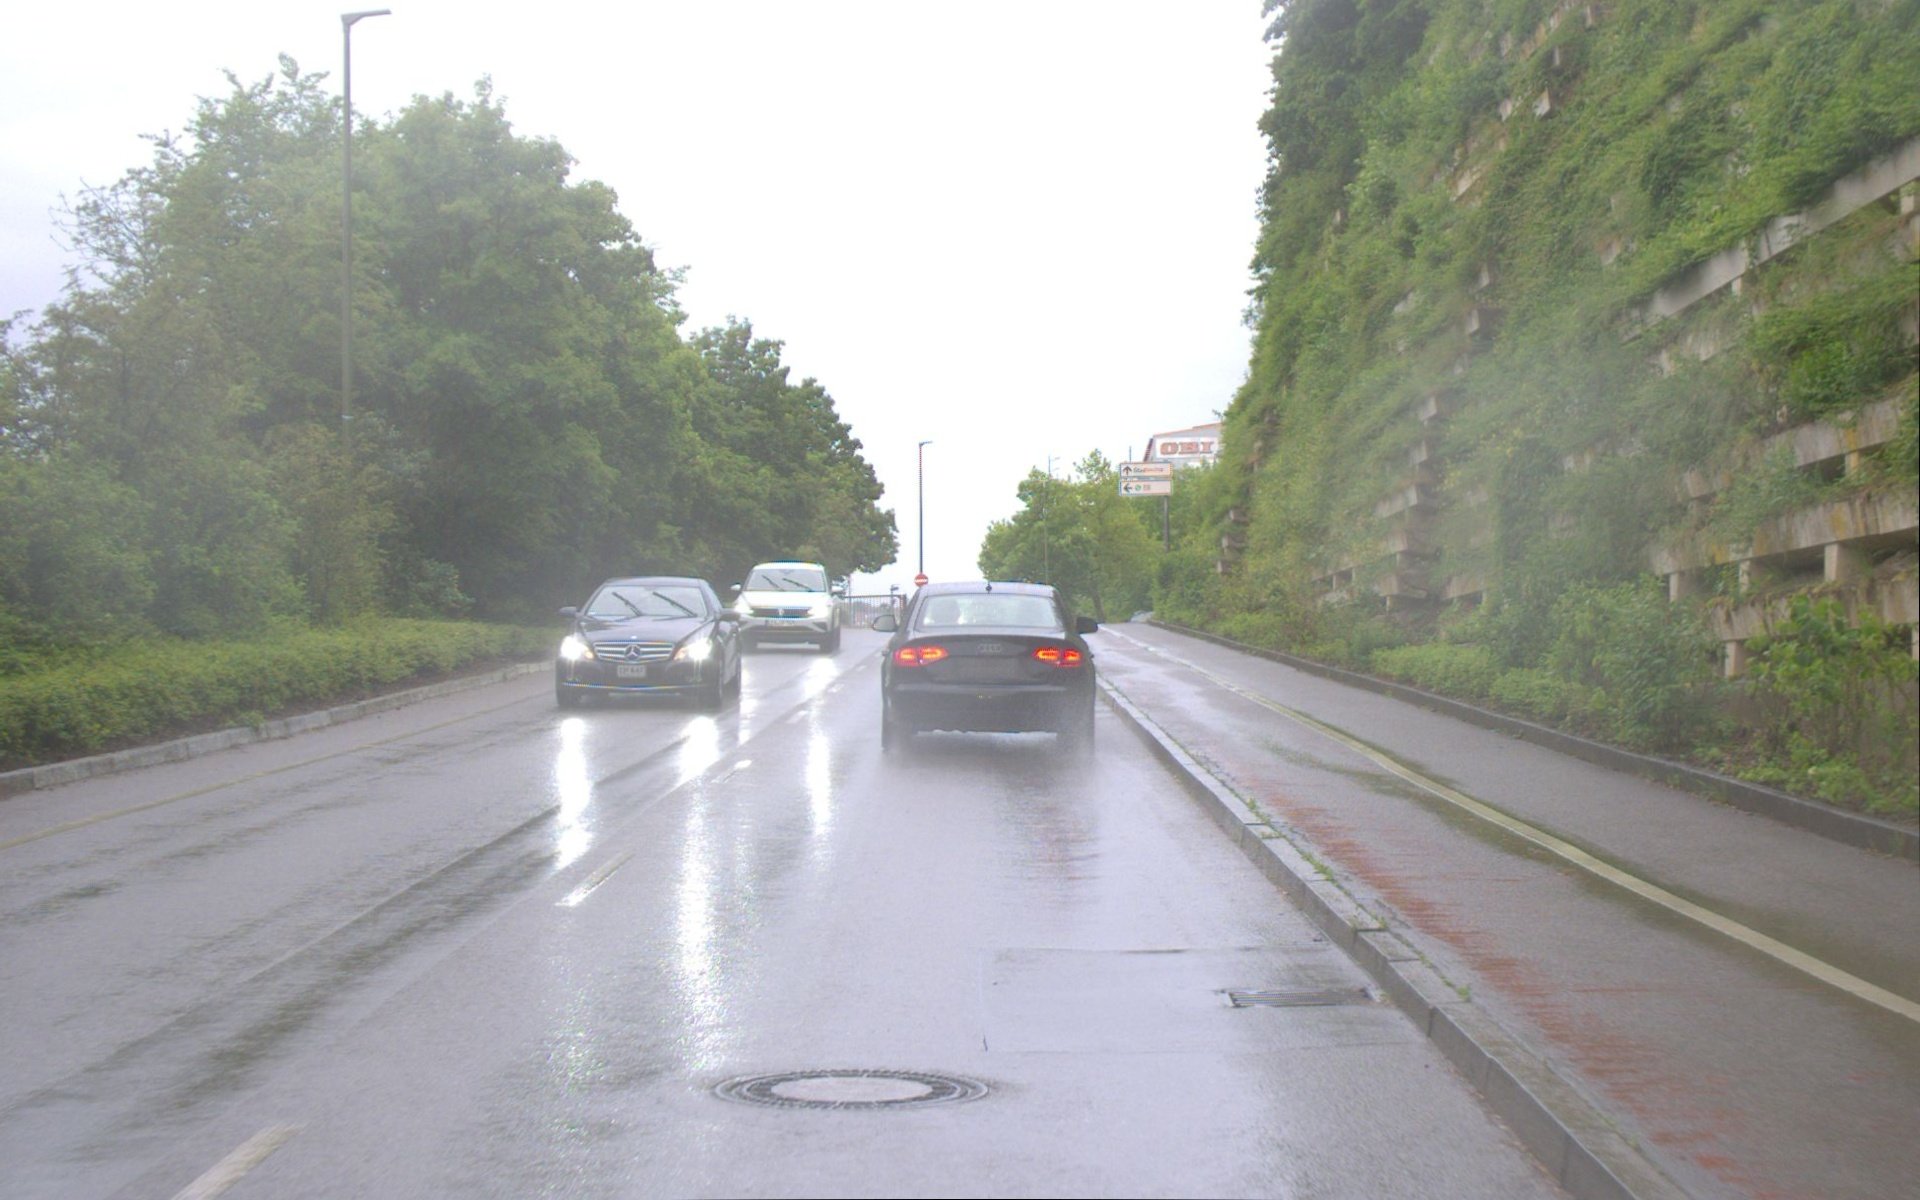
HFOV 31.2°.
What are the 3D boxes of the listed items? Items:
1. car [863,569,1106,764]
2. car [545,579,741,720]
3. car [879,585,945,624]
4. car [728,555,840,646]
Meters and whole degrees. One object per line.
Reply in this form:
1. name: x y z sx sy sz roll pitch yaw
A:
1. car: 0.258 0.508 29.484 1.893 1.487 4.207 1 1 2
2. car: -3.479 0.502 38.372 1.865 1.444 4.378 -1 1 -1
3. car: -1.719 0.142 125.009 1.994 1.359 4.251 1 0 5
4. car: -3.215 -0.017 63.506 1.823 1.609 4.093 1 1 0
